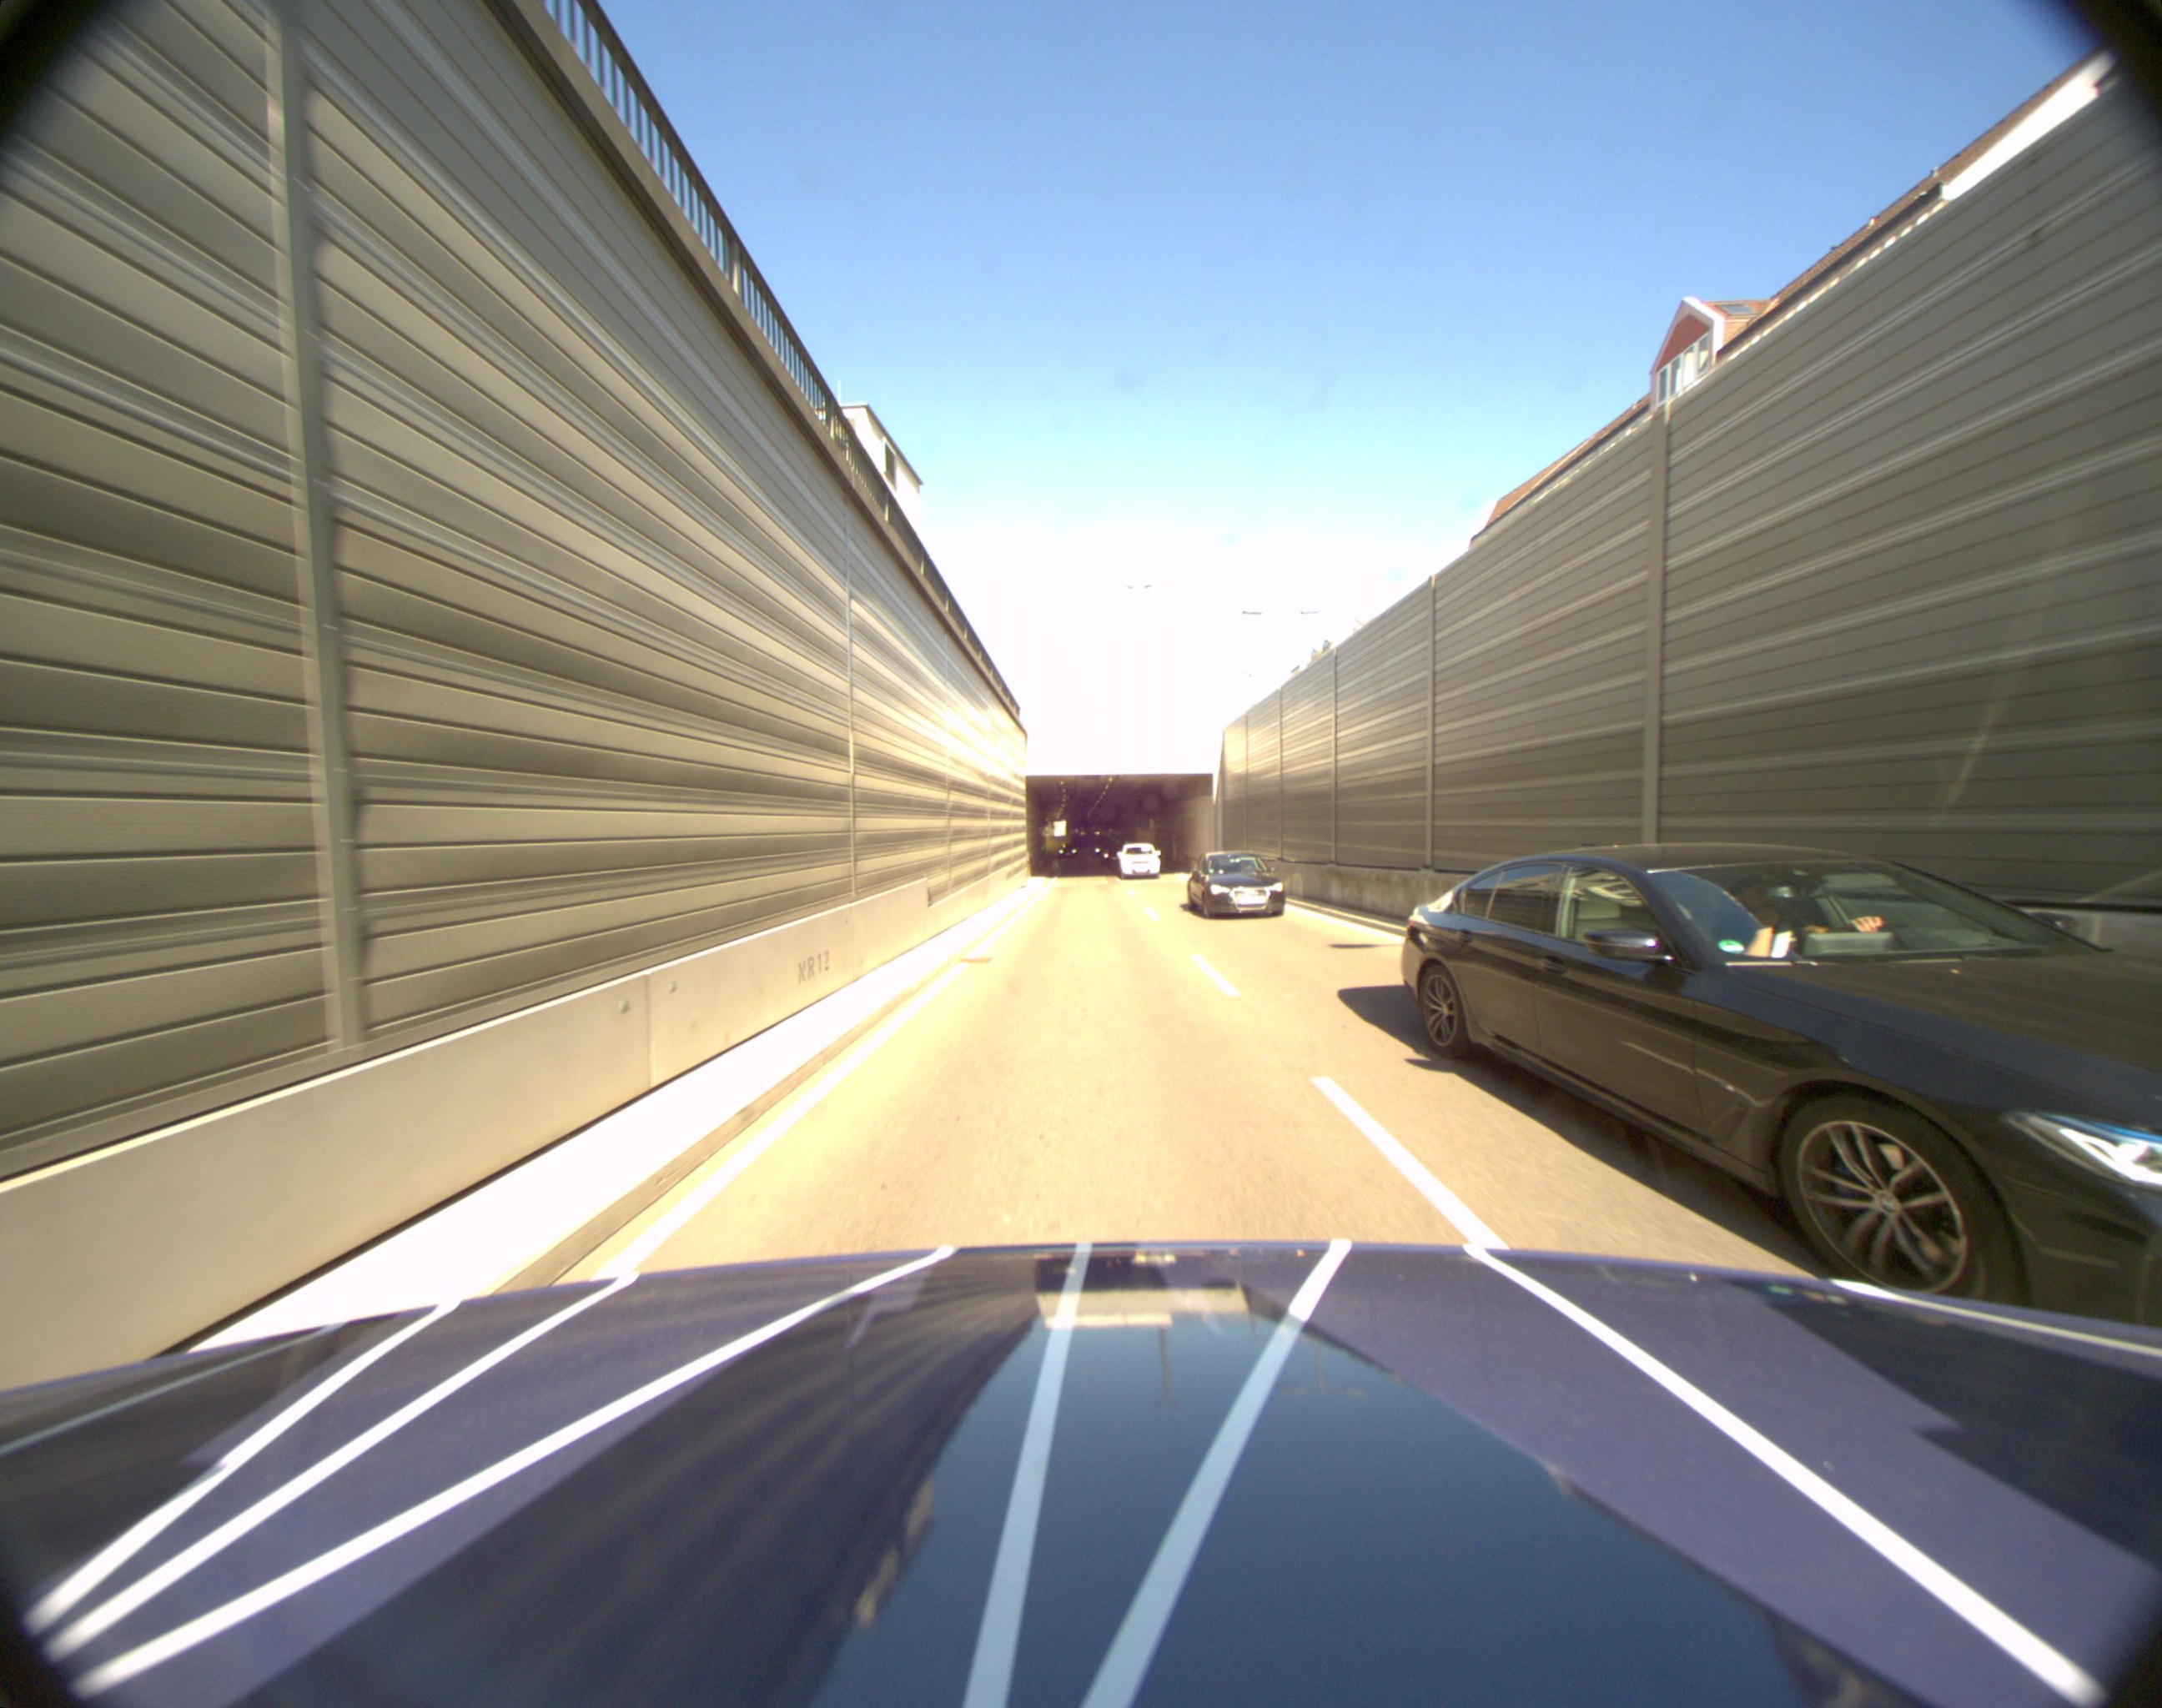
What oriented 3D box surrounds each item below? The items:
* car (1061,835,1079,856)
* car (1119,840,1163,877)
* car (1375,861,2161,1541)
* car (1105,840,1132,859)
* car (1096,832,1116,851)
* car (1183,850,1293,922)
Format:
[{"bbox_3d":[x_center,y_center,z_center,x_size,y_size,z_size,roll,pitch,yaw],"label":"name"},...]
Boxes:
[{"bbox_3d":[-1.114,-0.941,81.699,1.785,2.002,3.907,-2,2,0],"label":"car"},{"bbox_3d":[2.851,0.176,36.783,1.855,1.658,3.970,-1,1,1],"label":"car"},{"bbox_3d":[3.351,0.810,3.786,1.813,1.431,5.002,-2,0,0],"label":"car"},{"bbox_3d":[2.906,-0.361,59.688,1.998,1.407,3.999,-2,1,1],"label":"car"},{"bbox_3d":[2.752,-1.383,84.310,1.999,2.002,3.998,-2,2,-1],"label":"car"},{"bbox_3d":[3.451,0.649,17.397,1.700,1.410,3.888,-2,0,0],"label":"car"}]
